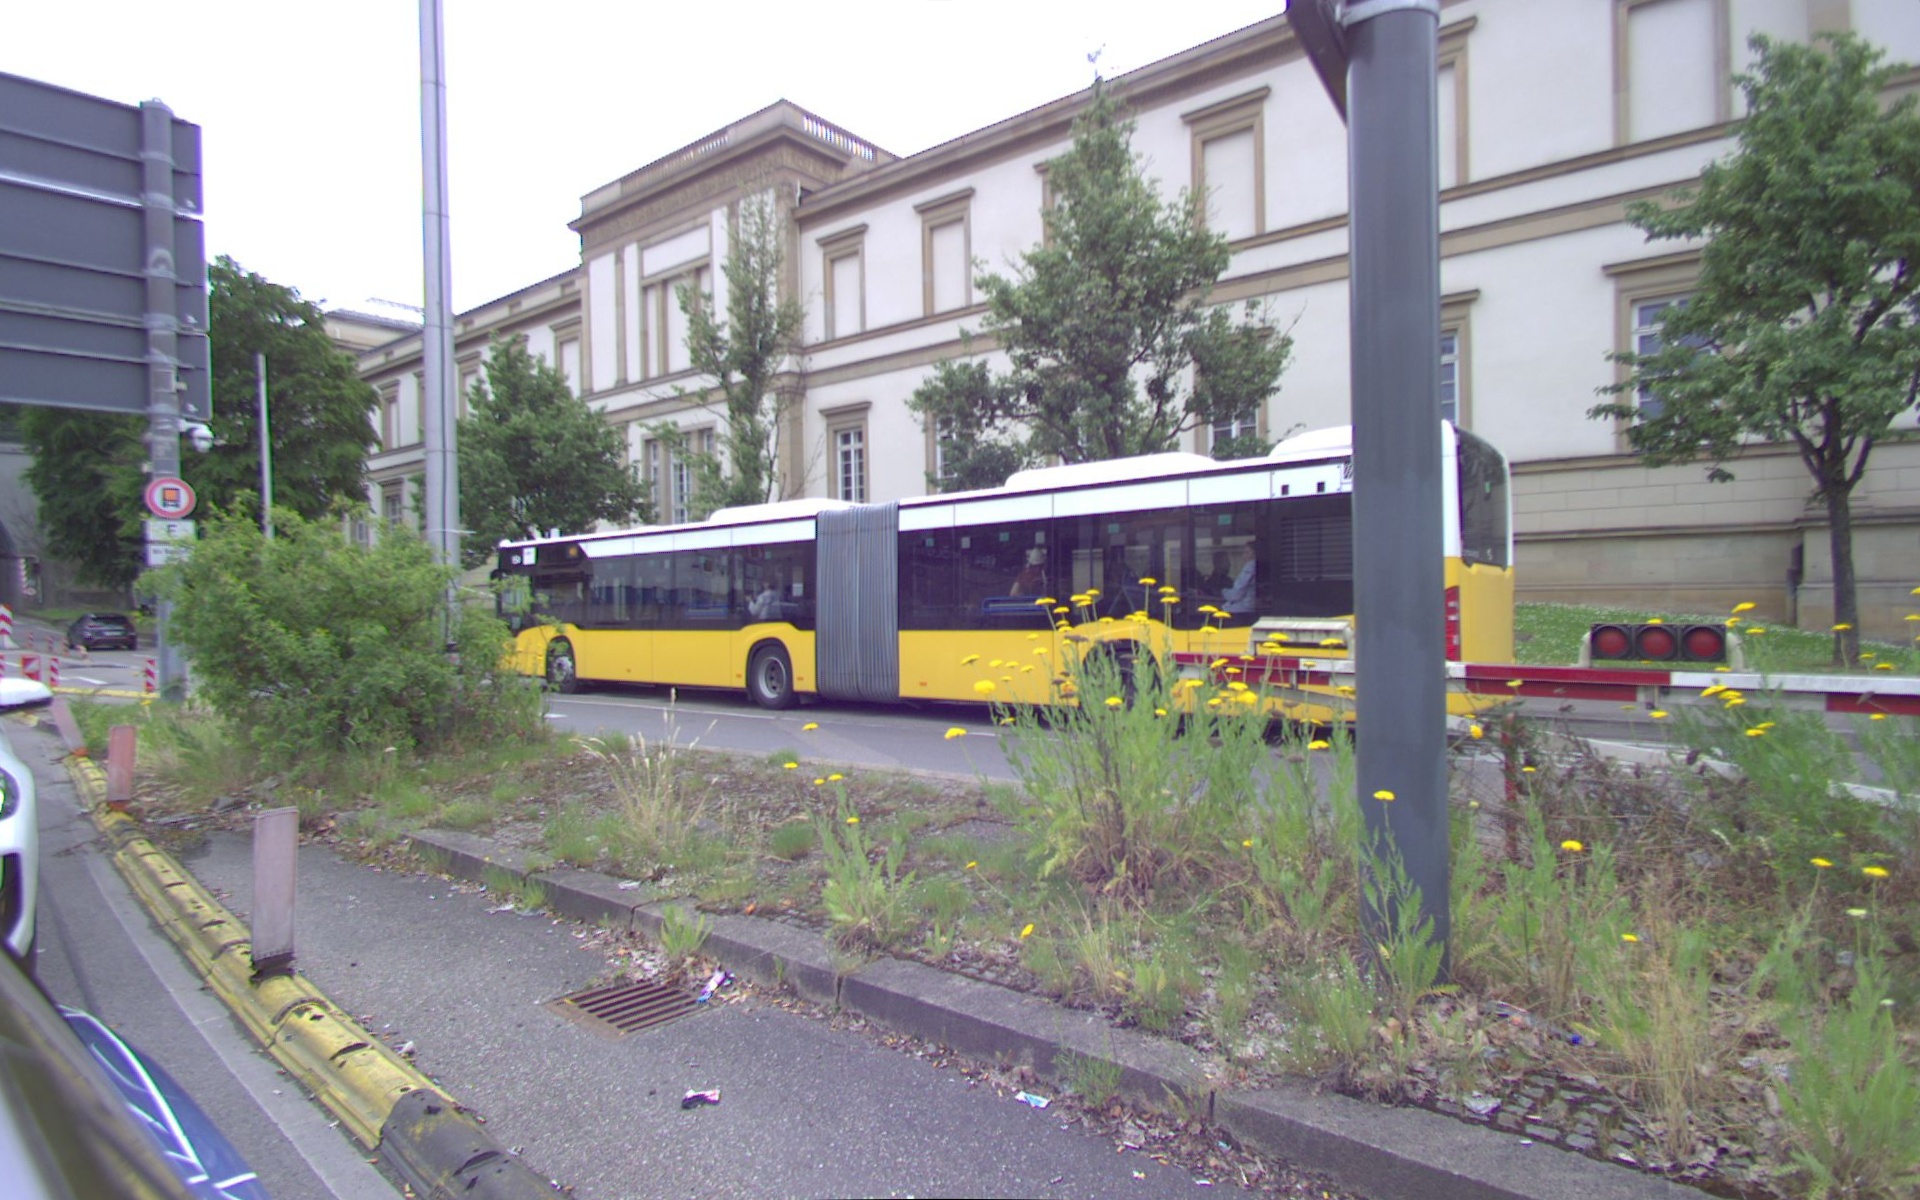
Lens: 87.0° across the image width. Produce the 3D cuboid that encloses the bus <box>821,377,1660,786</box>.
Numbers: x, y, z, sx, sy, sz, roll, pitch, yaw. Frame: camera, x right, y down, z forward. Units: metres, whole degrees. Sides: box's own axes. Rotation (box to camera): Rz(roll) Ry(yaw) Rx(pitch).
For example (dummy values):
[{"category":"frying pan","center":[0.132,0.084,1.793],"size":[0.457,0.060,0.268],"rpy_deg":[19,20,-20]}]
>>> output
[{"category":"bus","center":[2.483,-0.084,11.853],"size":[9.117,3.137,2.816],"rpy_deg":[-1,0,41]}]

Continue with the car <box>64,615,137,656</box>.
[{"category":"car","center":[-36.345,1.466,42.766],"size":[3.879,1.601,1.680],"rpy_deg":[-1,0,40]}]

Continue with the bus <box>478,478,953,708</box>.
[{"category":"bus","center":[-4.800,-0.023,17.963],"size":[9.737,3.137,2.818],"rpy_deg":[-1,0,39]}]

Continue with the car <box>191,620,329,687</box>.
[{"category":"car","center":[-17.829,1.293,25.693],"size":[4.625,1.482,1.684],"rpy_deg":[-1,0,40]}]

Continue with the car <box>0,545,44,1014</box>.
[{"category":"car","center":[-5.259,0.667,4.166],"size":[3.881,1.603,1.824],"rpy_deg":[-2,0,42]}]
